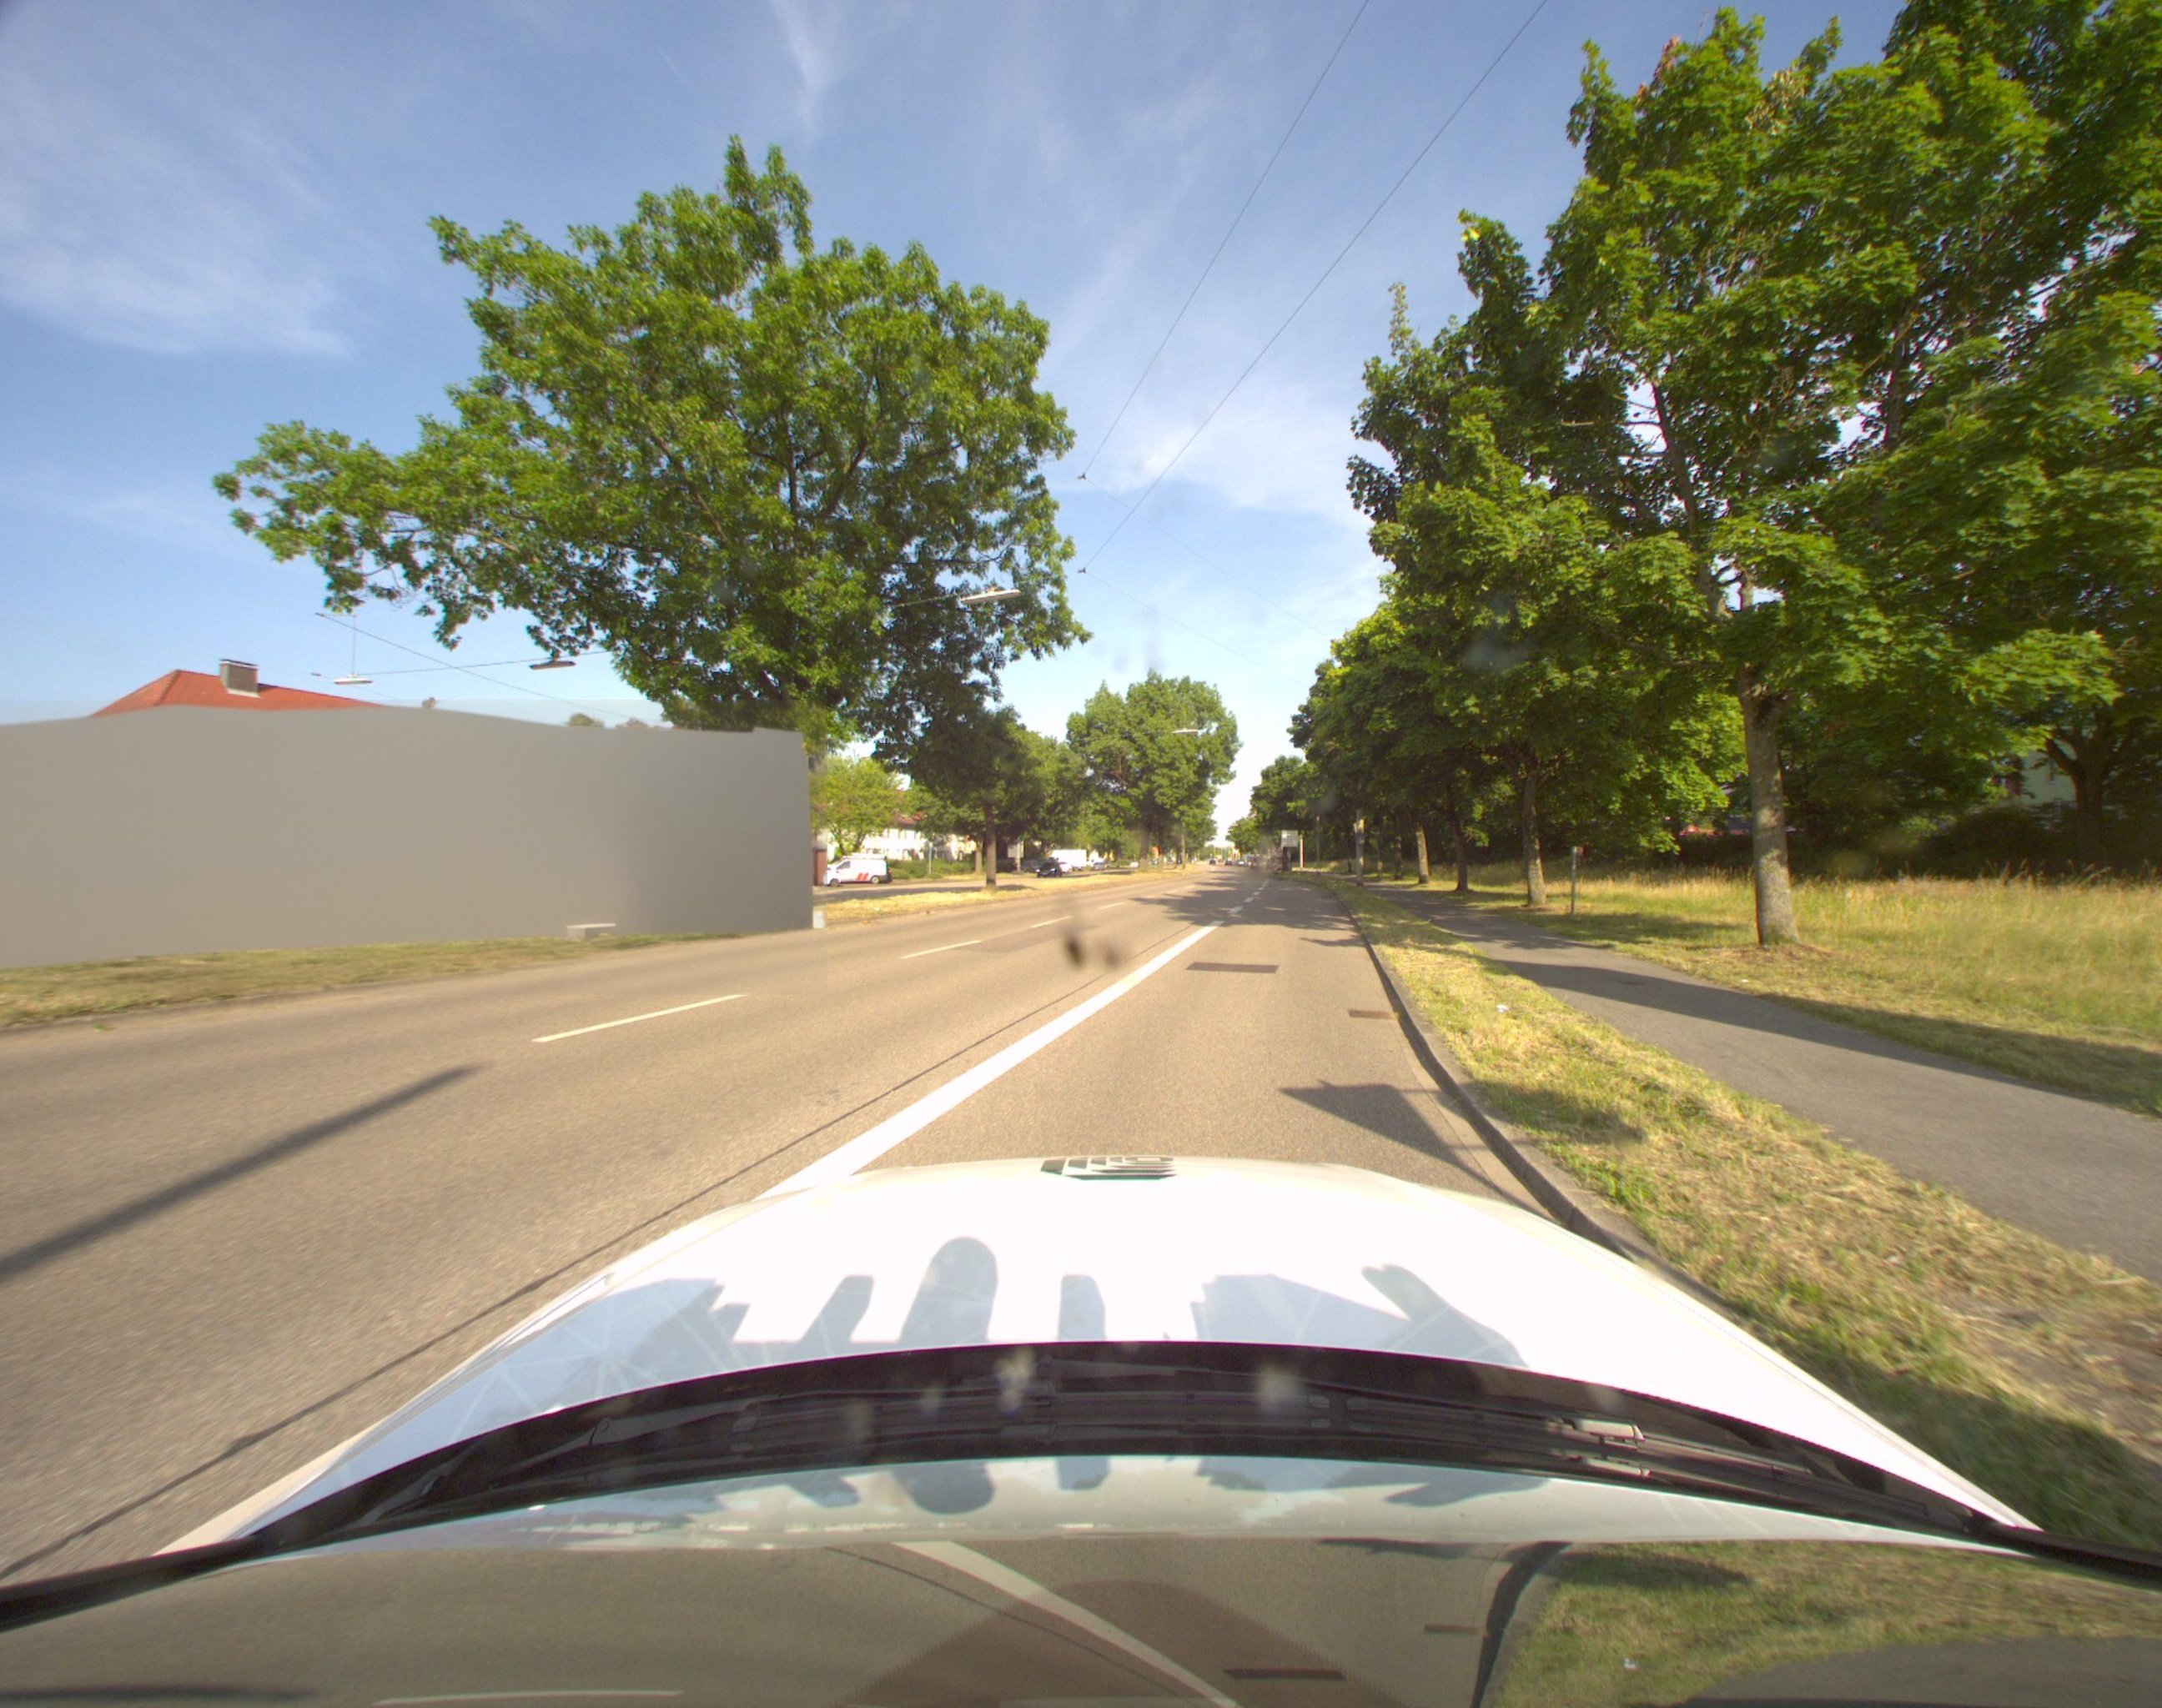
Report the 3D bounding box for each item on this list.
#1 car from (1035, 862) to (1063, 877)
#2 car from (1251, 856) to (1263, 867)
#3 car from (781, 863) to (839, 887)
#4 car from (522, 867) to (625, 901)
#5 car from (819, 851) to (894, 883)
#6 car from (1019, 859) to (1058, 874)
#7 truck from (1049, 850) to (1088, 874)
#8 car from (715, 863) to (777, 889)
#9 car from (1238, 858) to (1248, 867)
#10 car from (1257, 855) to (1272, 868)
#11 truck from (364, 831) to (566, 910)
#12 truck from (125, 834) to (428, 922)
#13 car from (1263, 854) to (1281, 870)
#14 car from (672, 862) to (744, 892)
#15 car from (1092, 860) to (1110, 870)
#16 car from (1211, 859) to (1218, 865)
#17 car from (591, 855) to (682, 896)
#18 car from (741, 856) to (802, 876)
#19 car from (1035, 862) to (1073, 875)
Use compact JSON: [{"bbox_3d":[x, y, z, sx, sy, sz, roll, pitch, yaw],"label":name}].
[{"bbox_3d":[-3.053,1.448,77.755,1.699,1.353,4.013,-1,-1,12],"label":"car"},{"bbox_3d":[35.110,1.488,162.484,1.981,2.014,4.011,-1,-1,10],"label":"car"},{"bbox_3d":[-18.052,1.366,54.278,3.440,1.514,1.879,-1,-1,-27],"label":"car"},{"bbox_3d":[-23.411,1.342,37.626,3.925,1.456,1.876,0,-1,-34],"label":"car"},{"bbox_3d":[-16.635,0.962,60.309,4.995,2.232,1.980,0,-1,-31],"label":"car"},{"bbox_3d":[-5.389,1.585,103.096,4.552,1.723,1.982,0,-1,-29],"label":"car"},{"bbox_3d":[-1.761,1.107,118.077,5.528,3.465,1.978,0,-1,-35],"label":"truck"},{"bbox_3d":[-20.614,1.345,50.095,3.440,1.514,1.879,-1,-1,-27],"label":"car"},{"bbox_3d":[40.458,2.100,203.978,1.984,2.014,4.005,-1,-1,5],"label":"car"},{"bbox_3d":[28.179,1.167,125.315,1.981,2.014,4.106,-1,-1,10],"label":"car"},{"bbox_3d":[-23.801,0.578,31.845,6.099,2.854,1.877,0,-1,-31],"label":"truck"},{"bbox_3d":[-24.941,0.717,25.655,6.358,2.524,2.262,0,-1,-20],"label":"truck"},{"bbox_3d":[26.090,1.094,111.380,1.982,2.014,4.141,-1,-1,8],"label":"car"},{"bbox_3d":[-20.423,1.246,44.571,3.507,1.514,1.879,-1,-1,-27],"label":"car"},{"bbox_3d":[3.229,1.818,128.667,1.897,1.451,4.296,-2,-2,15],"label":"car"},{"bbox_3d":[39.633,2.495,242.468,1.803,1.706,4.005,-1,-2,5],"label":"car"},{"bbox_3d":[-22.307,1.045,40.908,3.922,1.920,1.877,0,-1,-31],"label":"car"},{"bbox_3d":[-28.503,1.086,74.961,4.927,1.719,2.008,-1,-1,14],"label":"car"},{"bbox_3d":[-3.564,1.887,107.341,4.552,1.723,1.982,0,-1,-29],"label":"car"}]
